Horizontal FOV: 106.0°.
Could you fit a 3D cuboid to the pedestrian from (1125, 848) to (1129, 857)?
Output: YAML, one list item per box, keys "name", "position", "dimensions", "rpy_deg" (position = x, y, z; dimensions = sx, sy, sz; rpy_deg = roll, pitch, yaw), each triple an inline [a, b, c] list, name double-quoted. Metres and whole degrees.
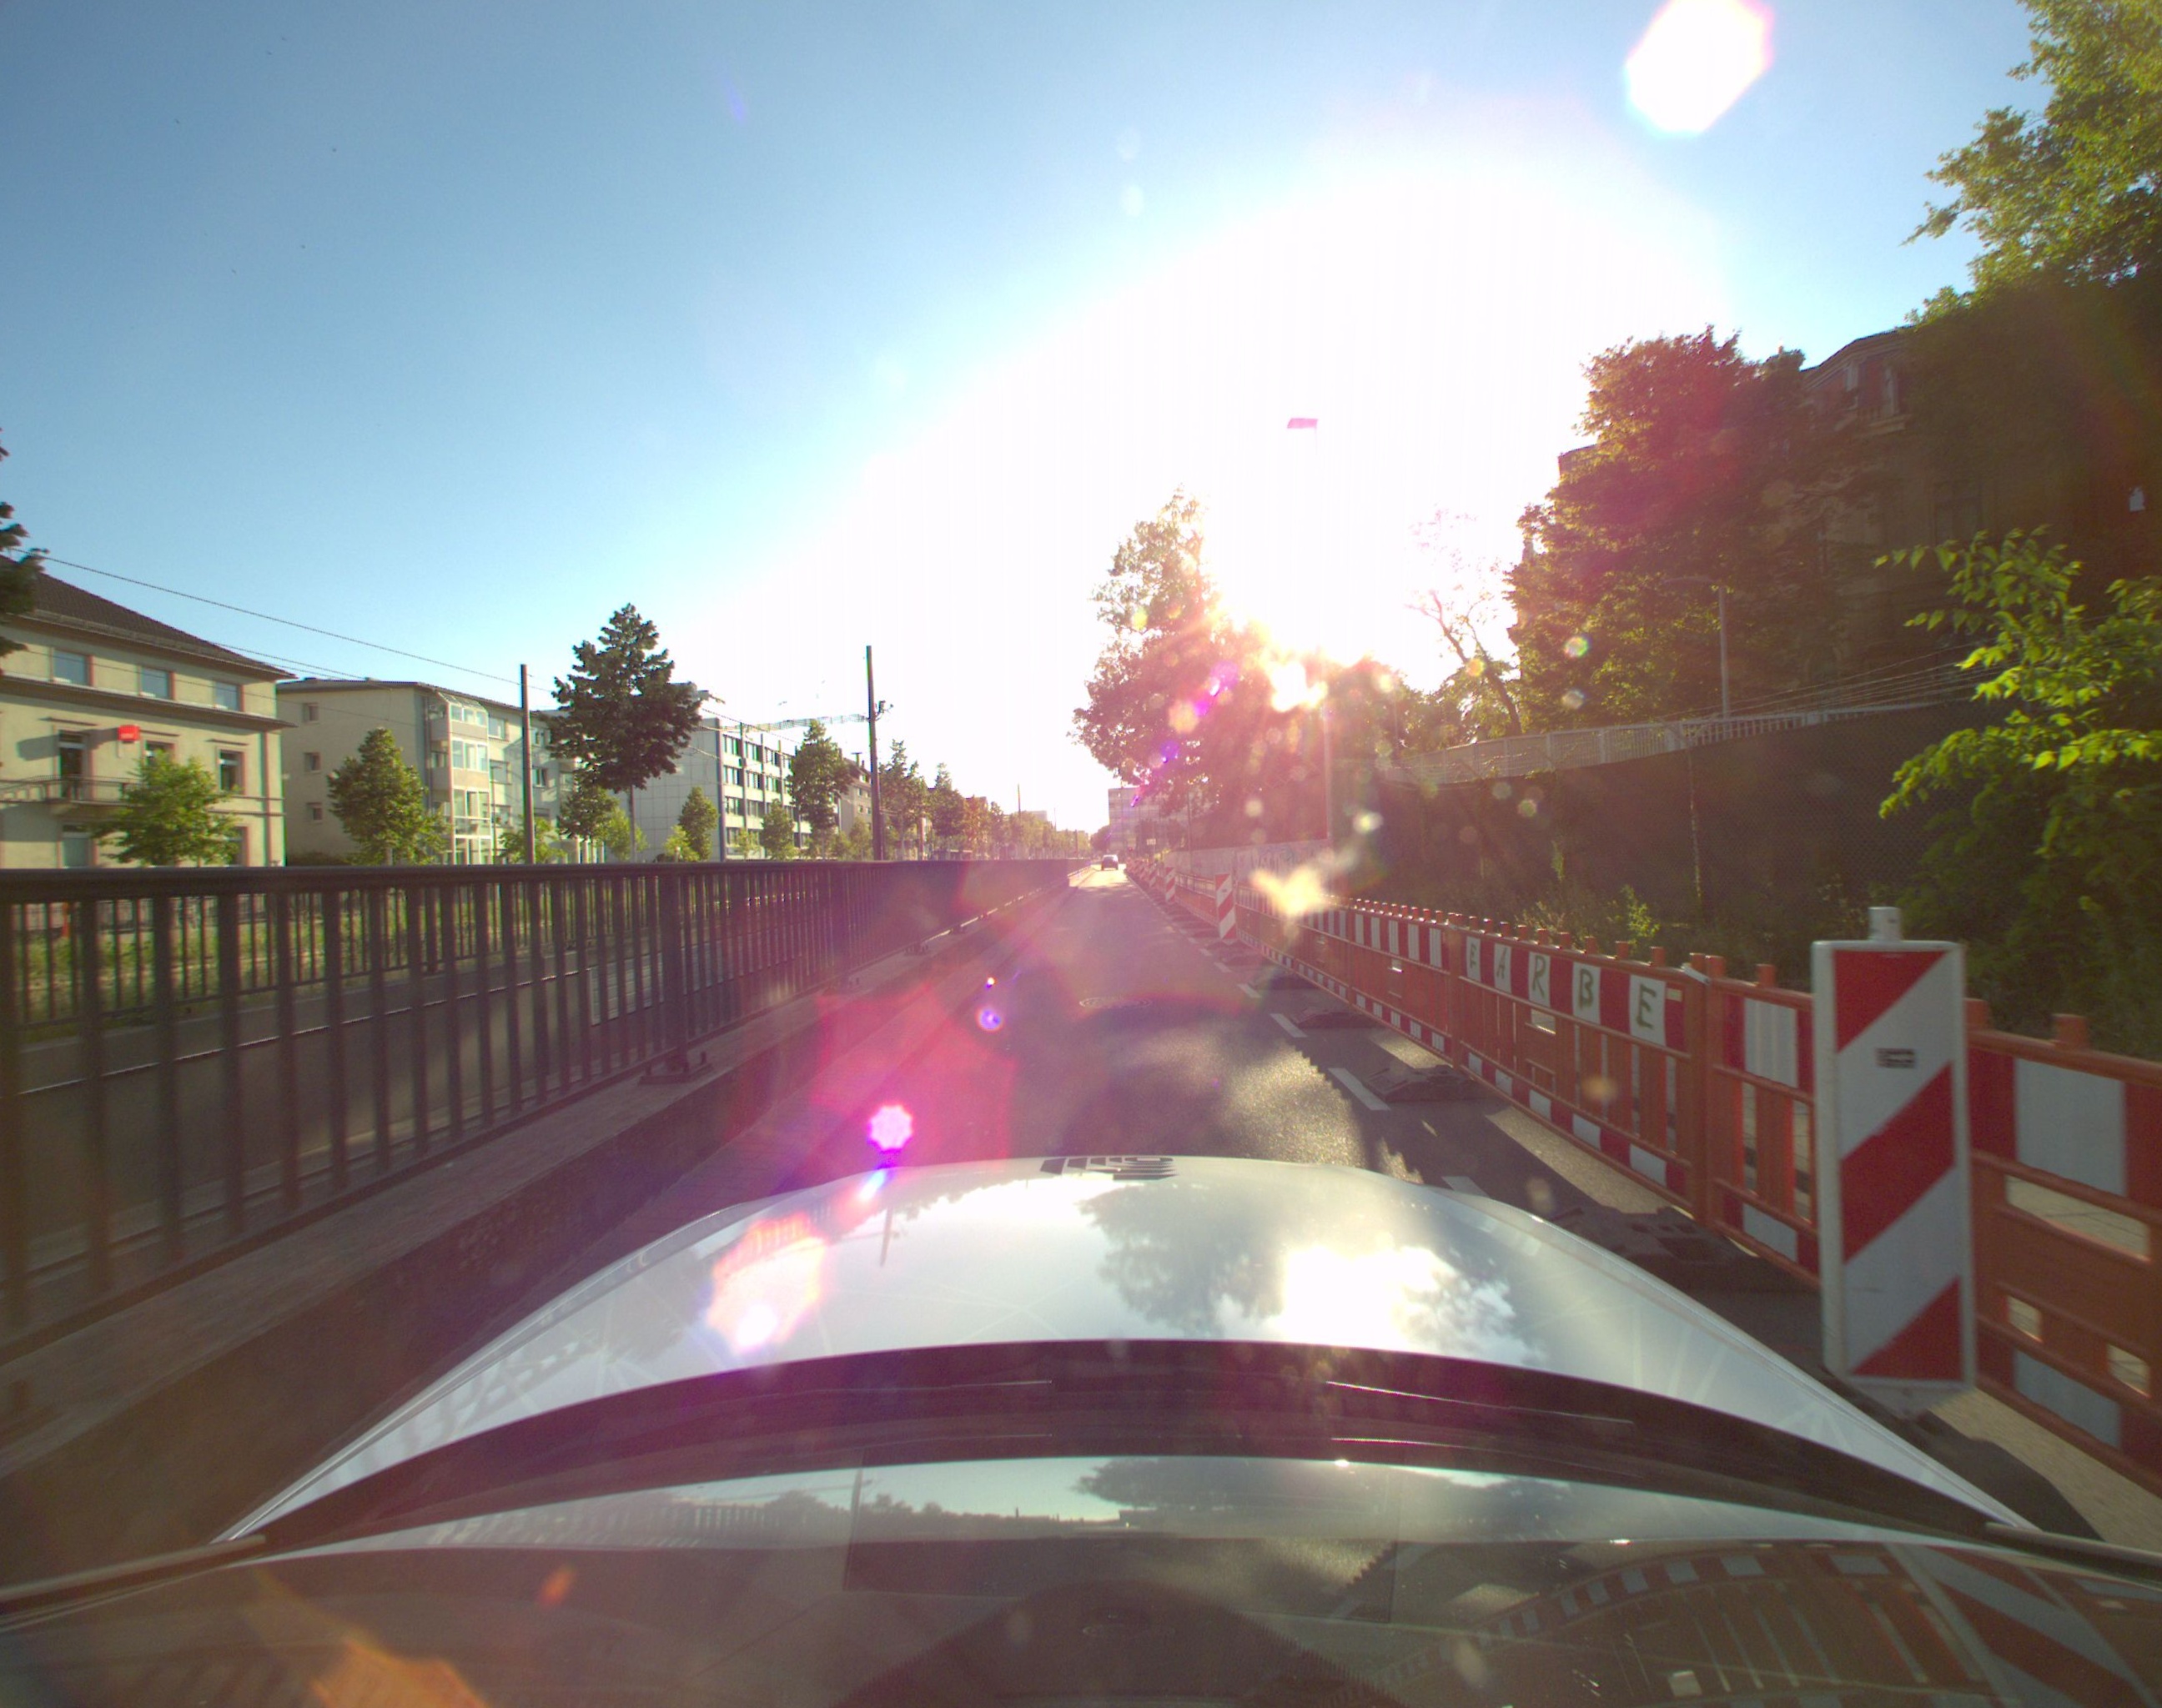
- name: "pedestrian"
  position: [11.277, -0.398, 200.602]
  dimensions: [0.887, 2.112, 0.719]
  rpy_deg: [-2, 0, 7]

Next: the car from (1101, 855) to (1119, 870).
- name: "car"
  position: [3.413, 0.994, 95.947]
  dimensions: [1.997, 1.659, 4.003]
  rpy_deg: [-1, -1, 3]
